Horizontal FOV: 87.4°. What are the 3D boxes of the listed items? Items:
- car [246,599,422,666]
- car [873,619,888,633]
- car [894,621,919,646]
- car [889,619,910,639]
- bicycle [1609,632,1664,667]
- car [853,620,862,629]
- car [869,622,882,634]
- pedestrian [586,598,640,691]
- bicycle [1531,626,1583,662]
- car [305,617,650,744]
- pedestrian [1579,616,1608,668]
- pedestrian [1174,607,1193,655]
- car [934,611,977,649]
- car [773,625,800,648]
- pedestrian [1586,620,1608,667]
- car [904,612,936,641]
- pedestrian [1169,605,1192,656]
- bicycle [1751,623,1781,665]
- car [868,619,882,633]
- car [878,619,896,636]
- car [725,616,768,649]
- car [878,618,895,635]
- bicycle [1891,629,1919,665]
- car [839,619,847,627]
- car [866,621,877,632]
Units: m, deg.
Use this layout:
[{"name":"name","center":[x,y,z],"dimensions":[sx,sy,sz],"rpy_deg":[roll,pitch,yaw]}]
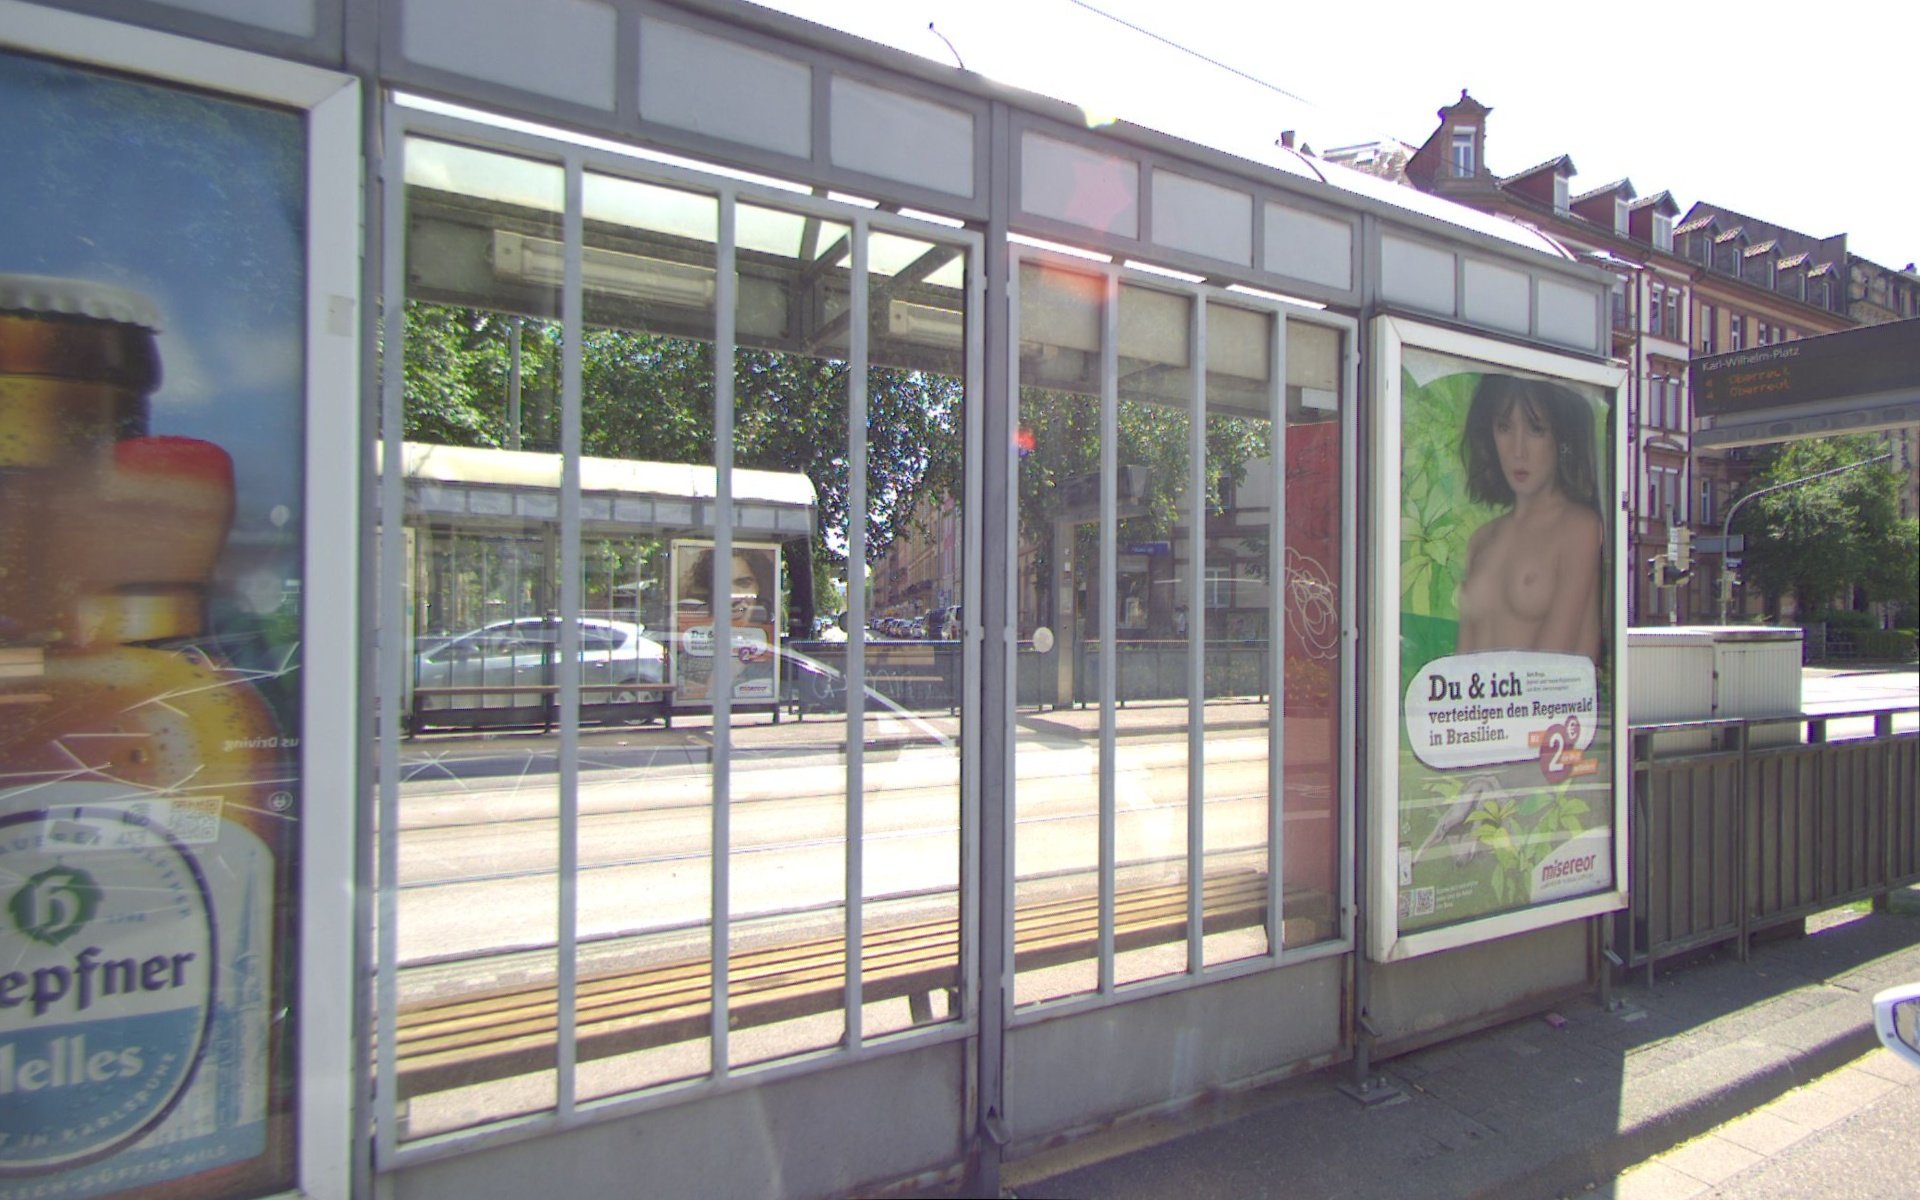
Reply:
[{"name":"car","center":[-16.132,0.828,25.985],"dimensions":[1.561,1.596,3.567],"rpy_deg":[1,-1,44]},{"name":"car","center":[-8.457,2.783,107.363],"dimensions":[1.512,1.461,3.739],"rpy_deg":[1,-1,-4]},{"name":"car","center":[-3.440,2.129,64.286],"dimensions":[1.512,1.461,3.739],"rpy_deg":[1,-1,-4]},{"name":"car","center":[-4.712,2.239,77.580],"dimensions":[1.512,1.461,3.739],"rpy_deg":[1,-1,-4]},{"name":"bicycle","center":[21.693,1.578,32.239],"dimensions":[1.376,1.027,0.389],"rpy_deg":[3,0,21]},{"name":"car","center":[-18.142,4.307,177.993],"dimensions":[1.512,1.461,3.738],"rpy_deg":[1,-1,-6]},{"name":"car","center":[-10.979,3.686,130.757],"dimensions":[1.512,1.461,3.739],"rpy_deg":[1,-1,-4]},{"name":"pedestrian","center":[-6.255,0.788,18.104],"dimensions":[0.765,1.627,0.676],"rpy_deg":[2,0,-33]},{"name":"bicycle","center":[20.599,1.523,34.685],"dimensions":[1.489,1.185,0.365],"rpy_deg":[1,1,18]},{"name":"car","center":[-5.942,0.943,12.575],"dimensions":[3.676,1.356,1.533],"rpy_deg":[2,-1,-31]},{"name":"pedestrian","center":[20.548,1.362,32.590],"dimensions":[0.641,1.637,0.469],"rpy_deg":[1,3,19]},{"name":"pedestrian","center":[8.450,1.170,38.010],"dimensions":[0.500,1.791,0.527],"rpy_deg":[1,0,39]},{"name":"car","center":[-0.225,1.213,41.459],"dimensions":[1.512,1.461,3.739],"rpy_deg":[1,-1,-4]},{"name":"car","center":[-11.681,2.454,67.849],"dimensions":[1.512,1.461,3.738],"rpy_deg":[1,-1,-6]},{"name":"pedestrian","center":[21.066,1.427,33.229],"dimensions":[0.497,1.536,0.469],"rpy_deg":[1,0,19]},{"name":"car","center":[-2.135,1.368,53.329],"dimensions":[1.512,1.461,3.739],"rpy_deg":[1,-1,-4]},{"name":"pedestrian","center":[8.077,1.120,36.812],"dimensions":[0.556,1.849,0.632],"rpy_deg":[1,0,39]},{"name":"bicycle","center":[28.117,1.526,35.052],"dimensions":[0.606,1.414,2.301],"rpy_deg":[1,-1,34]},{"name":"car","center":[-9.565,2.921,112.700],"dimensions":[1.512,1.461,3.739],"rpy_deg":[1,-1,-4]},{"name":"car","center":[-6.566,2.474,90.154],"dimensions":[1.512,1.461,3.739],"rpy_deg":[1,-1,-4]},{"name":"car","center":[-10.091,1.522,47.685],"dimensions":[1.512,1.461,3.739],"rpy_deg":[1,-1,-4]},{"name":"car","center":[-6.997,2.523,95.771],"dimensions":[1.512,1.461,3.739],"rpy_deg":[1,-1,-4]},{"name":"bicycle","center":[36.975,1.813,39.161],"dimensions":[0.583,1.374,2.433],"rpy_deg":[1,-1,34]},{"name":"car","center":[-22.766,4.463,194.957],"dimensions":[1.512,1.461,3.738],"rpy_deg":[1,-1,-6]},{"name":"car","center":[-12.922,3.835,146.170],"dimensions":[1.512,1.461,3.739],"rpy_deg":[1,-1,-4]}]
